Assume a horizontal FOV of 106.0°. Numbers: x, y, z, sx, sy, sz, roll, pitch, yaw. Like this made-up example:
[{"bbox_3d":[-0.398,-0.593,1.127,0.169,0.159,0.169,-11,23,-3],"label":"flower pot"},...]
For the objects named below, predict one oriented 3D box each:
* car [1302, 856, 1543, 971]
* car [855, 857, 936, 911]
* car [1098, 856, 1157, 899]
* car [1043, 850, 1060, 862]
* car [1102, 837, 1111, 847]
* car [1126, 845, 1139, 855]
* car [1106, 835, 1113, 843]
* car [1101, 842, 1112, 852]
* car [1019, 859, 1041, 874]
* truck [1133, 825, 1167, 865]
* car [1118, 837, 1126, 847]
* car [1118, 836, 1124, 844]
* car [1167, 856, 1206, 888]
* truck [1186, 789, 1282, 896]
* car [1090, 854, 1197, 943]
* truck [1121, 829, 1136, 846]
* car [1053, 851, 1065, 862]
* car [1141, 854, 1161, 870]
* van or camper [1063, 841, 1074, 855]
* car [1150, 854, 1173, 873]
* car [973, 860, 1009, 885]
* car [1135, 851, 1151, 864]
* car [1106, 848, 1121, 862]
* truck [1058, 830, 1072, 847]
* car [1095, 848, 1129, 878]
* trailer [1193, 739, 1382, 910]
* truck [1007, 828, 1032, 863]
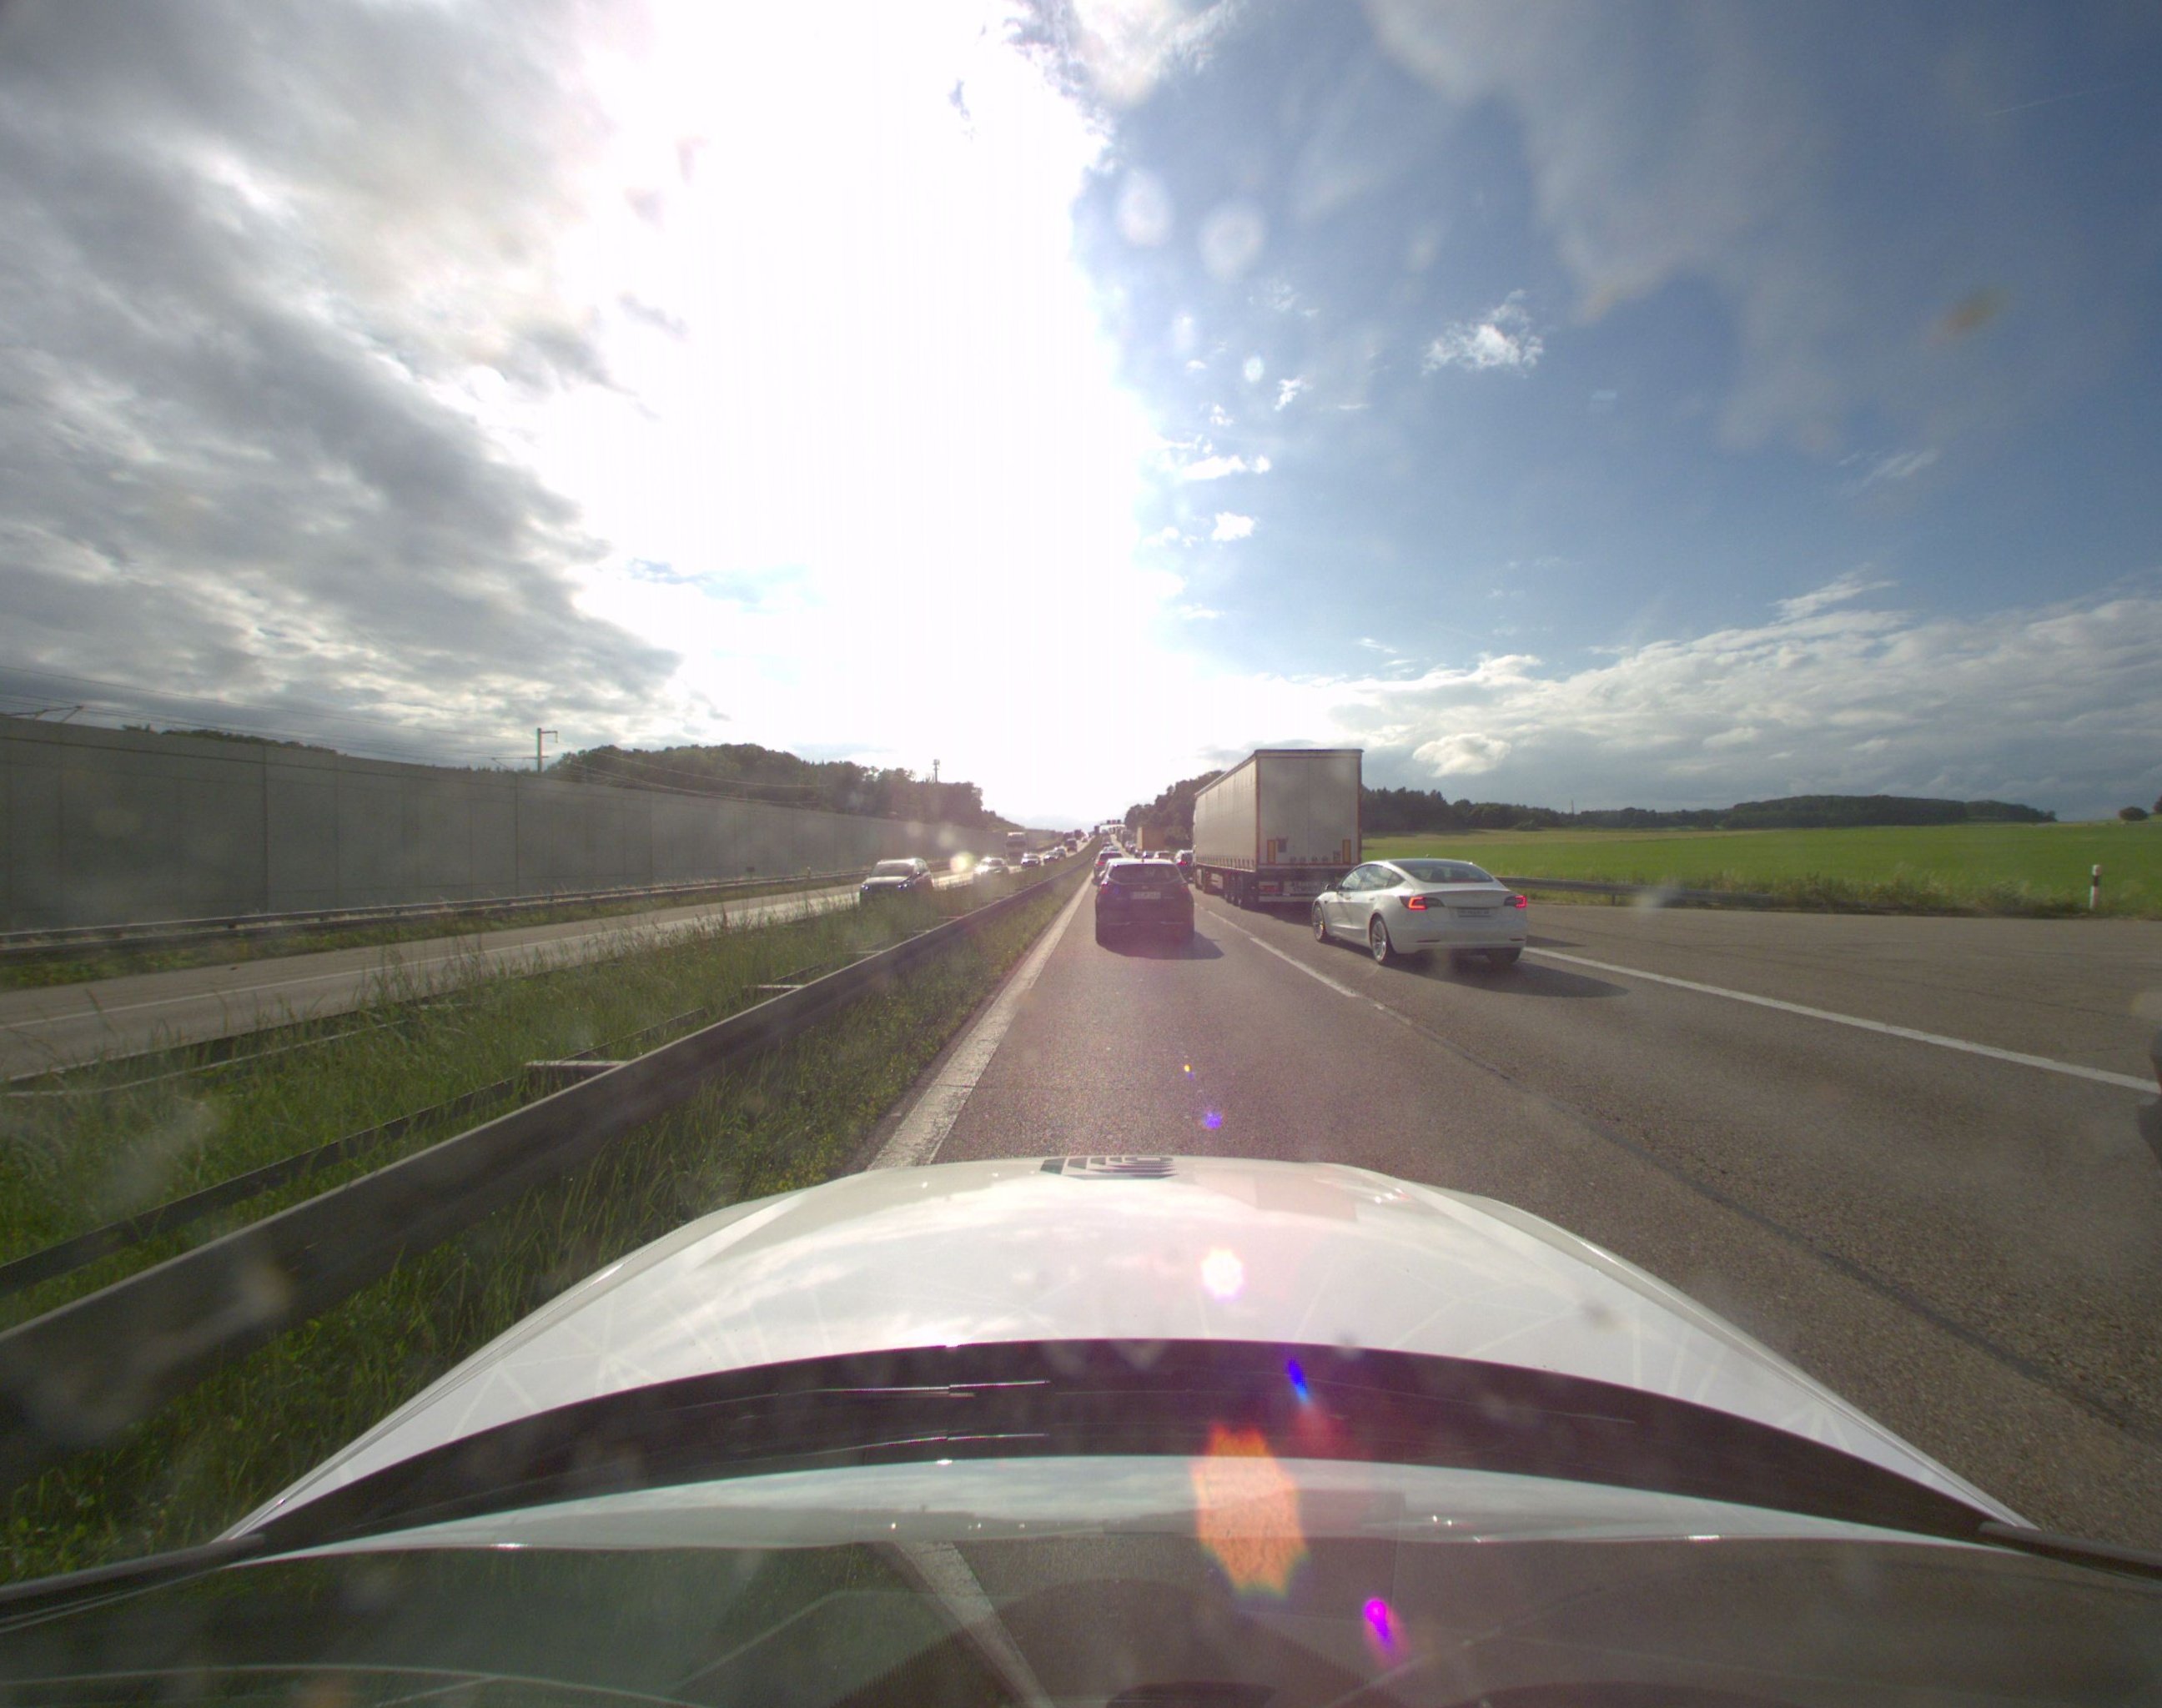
[{"bbox_3d":[4.869,0.746,12.377,1.783,1.394,4.436,-1,0,0],"label":"car"},{"bbox_3d":[-6.482,0.992,28.919,1.774,1.737,4.104,-1,-1,2],"label":"car"},{"bbox_3d":[1.582,0.767,28.434,1.866,1.358,4.234,-1,0,2],"label":"car"},{"bbox_3d":[-3.664,0.286,101.526,1.735,1.358,4.234,-1,0,2],"label":"car"},{"bbox_3d":[5.940,-2.777,189.313,1.866,2.158,5.214,-1,2,2],"label":"car"},{"bbox_3d":[8.908,-0.698,142.012,1.868,1.644,4.230,-1,1,-1],"label":"car"},{"bbox_3d":[8.731,-4.548,250.994,1.866,2.158,5.214,-1,2,2],"label":"car"},{"bbox_3d":[4.519,-1.249,145.060,1.867,1.644,4.233,-1,1,1],"label":"car"},{"bbox_3d":[-5.099,1.249,81.729,1.762,1.479,3.831,-2,-1,2],"label":"car"},{"bbox_3d":[8.287,-0.927,99.490,3.286,4.577,12.440,0,-1,1],"label":"truck"},{"bbox_3d":[9.982,-2.965,198.914,1.866,2.158,5.214,-1,2,2],"label":"car"},{"bbox_3d":[12.403,-4.379,253.121,1.866,2.158,5.214,-1,2,2],"label":"car"},{"bbox_3d":[5.576,0.939,43.550,1.690,1.611,4.440,-1,0,3],"label":"car"},{"bbox_3d":[6.125,-0.398,33.371,3.121,4.016,5.166,-1,-1,2],"label":"truck"},{"bbox_3d":[1.135,0.767,15.890,1.766,1.451,4.234,-1,0,2],"label":"car"},{"bbox_3d":[13.035,-4.422,224.628,3.452,4.577,12.442,0,1,1],"label":"truck"},{"bbox_3d":[-3.430,0.416,128.774,1.702,1.706,4.174,-1,-1,1],"label":"car"},{"bbox_3d":[7.378,0.851,86.461,1.866,1.644,4.234,-1,0,2],"label":"car"},{"bbox_3d":[-2.548,-1.220,171.953,2.082,2.819,5.897,0,-1,2],"label":"van or camper"},{"bbox_3d":[7.498,0.877,76.455,1.866,1.644,4.234,-1,0,2],"label":"car"},{"bbox_3d":[-5.848,1.160,53.264,1.691,1.499,4.428,-1,0,1],"label":"car"},{"bbox_3d":[8.452,0.491,110.848,1.867,1.644,4.231,-1,0,0],"label":"car"},{"bbox_3d":[4.266,0.122,105.650,1.866,1.644,4.235,-1,1,2],"label":"car"},{"bbox_3d":[-4.613,-4.318,233.587,3.285,4.577,12.445,-1,0,2],"label":"truck"},{"bbox_3d":[1.812,0.504,47.331,1.866,1.644,4.234,-1,0,2],"label":"car"},{"bbox_3d":[5.806,-0.565,25.947,3.118,4.011,13.373,-1,-1,2],"label":"trailer"},{"bbox_3d":[-7.782,-1.019,103.728,2.371,4.181,5.934,-2,-1,2],"label":"truck"}]
